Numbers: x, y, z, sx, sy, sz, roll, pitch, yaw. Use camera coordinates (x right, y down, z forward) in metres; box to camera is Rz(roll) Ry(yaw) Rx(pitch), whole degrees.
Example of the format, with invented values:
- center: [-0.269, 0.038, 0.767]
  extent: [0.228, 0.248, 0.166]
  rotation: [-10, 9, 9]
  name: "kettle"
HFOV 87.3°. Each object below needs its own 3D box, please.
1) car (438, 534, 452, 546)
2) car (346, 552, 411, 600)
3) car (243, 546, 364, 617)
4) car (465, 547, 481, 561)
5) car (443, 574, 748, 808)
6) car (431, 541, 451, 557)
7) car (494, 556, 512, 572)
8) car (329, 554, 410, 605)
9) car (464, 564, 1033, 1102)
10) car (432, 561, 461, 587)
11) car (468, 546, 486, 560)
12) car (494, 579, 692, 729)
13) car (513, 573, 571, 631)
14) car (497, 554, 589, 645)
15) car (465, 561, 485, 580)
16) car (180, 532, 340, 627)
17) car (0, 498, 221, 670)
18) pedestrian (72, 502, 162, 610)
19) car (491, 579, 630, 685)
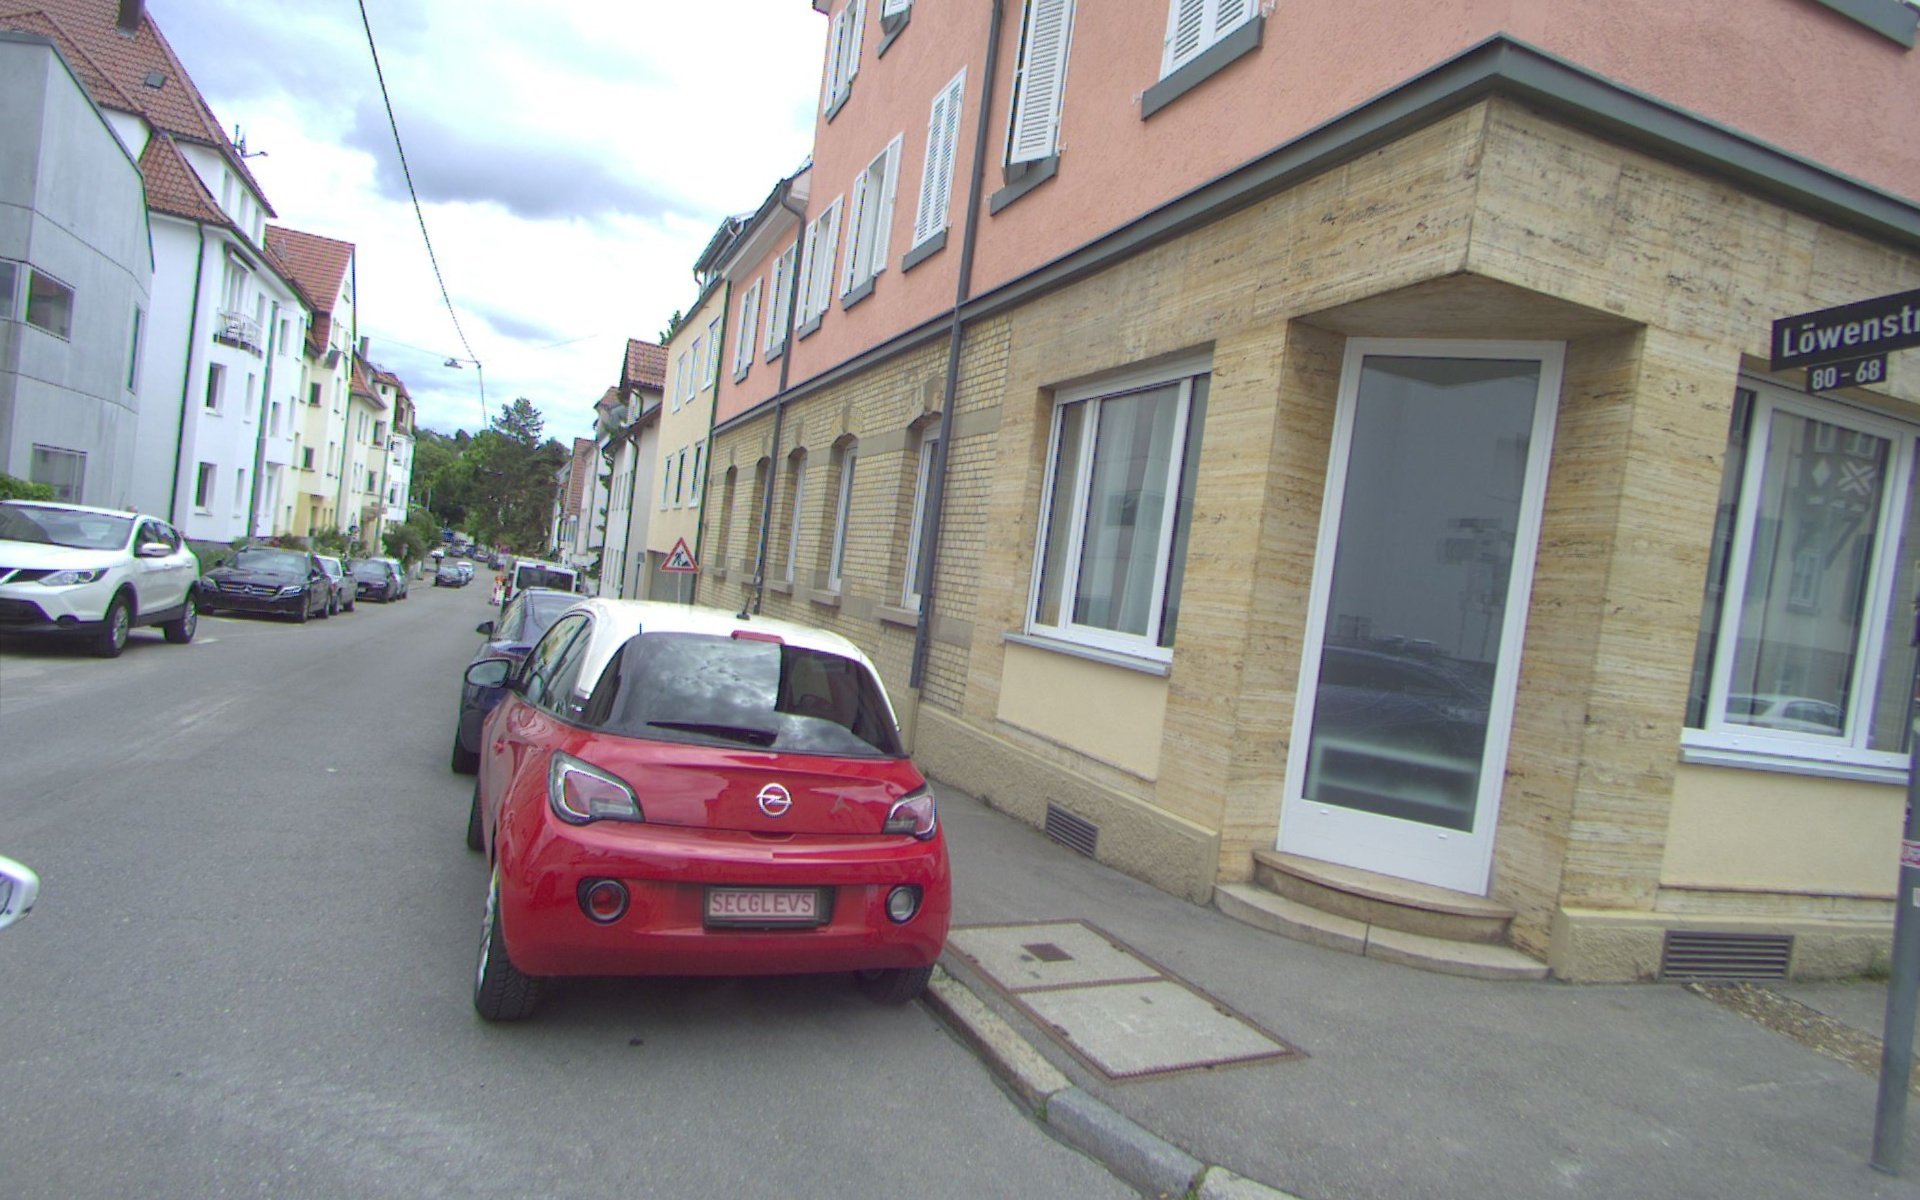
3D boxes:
- center: [-85.551, -9.982, 167.128]
  extent: [1.624, 1.557, 3.496]
  rotation: [9, 2, -33]
  name: "car"
- center: [-23.571, -0.996, 40.909]
  extent: [1.828, 1.650, 4.260]
  rotation: [7, -1, -26]
  name: "car"
- center: [-16.806, -0.507, 25.993]
  extent: [1.828, 1.430, 5.030]
  rotation: [7, -1, -26]
  name: "car"
- center: [-70.450, -6.698, 145.547]
  extent: [1.624, 1.502, 3.496]
  rotation: [9, 2, -33]
  name: "car"
- center: [-3.343, 0.628, 8.989]
  extent: [1.836, 1.419, 4.268]
  rotation: [9, -2, -24]
  name: "car"
- center: [-70.767, -6.939, 137.175]
  extent: [1.663, 1.679, 3.822]
  rotation: [6, 2, -37]
  name: "car"
- center: [-60.181, -4.754, 132.360]
  extent: [1.624, 1.502, 3.498]
  rotation: [9, 2, -32]
  name: "car"
- center: [-20.824, -0.716, 35.632]
  extent: [1.827, 1.474, 4.481]
  rotation: [7, -2, -24]
  name: "car"
- center: [-1.357, 0.695, 4.801]
  extent: [1.653, 1.497, 3.602]
  rotation: [7, -1, -27]
  name: "car"
- center: [-41.134, -2.082, 80.654]
  extent: [1.829, 1.837, 4.515]
  rotation: [6, -1, -27]
  name: "car"
- center: [-67.947, -6.573, 141.519]
  extent: [1.624, 1.502, 3.496]
  rotation: [9, 2, -33]
  name: "car"
- center: [-4.977, 0.613, 13.292]
  extent: [1.838, 1.419, 3.940]
  rotation: [9, -2, -27]
  name: "car"
- center: [-13.576, 0.036, 32.643]
  extent: [1.473, 1.614, 2.776]
  rotation: [9, -2, -23]
  name: "car"
- center: [-11.833, -0.090, 28.314]
  extent: [1.889, 2.053, 5.699]
  rotation: [9, -2, -25]
  name: "car"
- center: [-51.591, -3.155, 107.095]
  extent: [1.656, 1.678, 3.837]
  rotation: [6, 2, -25]
  name: "car"
- center: [-14.325, -0.441, 20.862]
  extent: [1.879, 1.545, 4.443]
  rotation: [7, -1, -26]
  name: "car"
- center: [-10.014, -0.263, 11.339]
  extent: [1.828, 1.534, 4.214]
  rotation: [7, -1, -26]
  name: "car"
- center: [-15.978, -0.814, 19.099]
  extent: [0.804, 1.907, 0.847]
  rotation: [6, 0, -2]
  name: "pedestrian"
- center: [-7.151, 0.497, 17.726]
  extent: [1.837, 1.419, 4.550]
  rotation: [9, -3, -25]
  name: "car"
